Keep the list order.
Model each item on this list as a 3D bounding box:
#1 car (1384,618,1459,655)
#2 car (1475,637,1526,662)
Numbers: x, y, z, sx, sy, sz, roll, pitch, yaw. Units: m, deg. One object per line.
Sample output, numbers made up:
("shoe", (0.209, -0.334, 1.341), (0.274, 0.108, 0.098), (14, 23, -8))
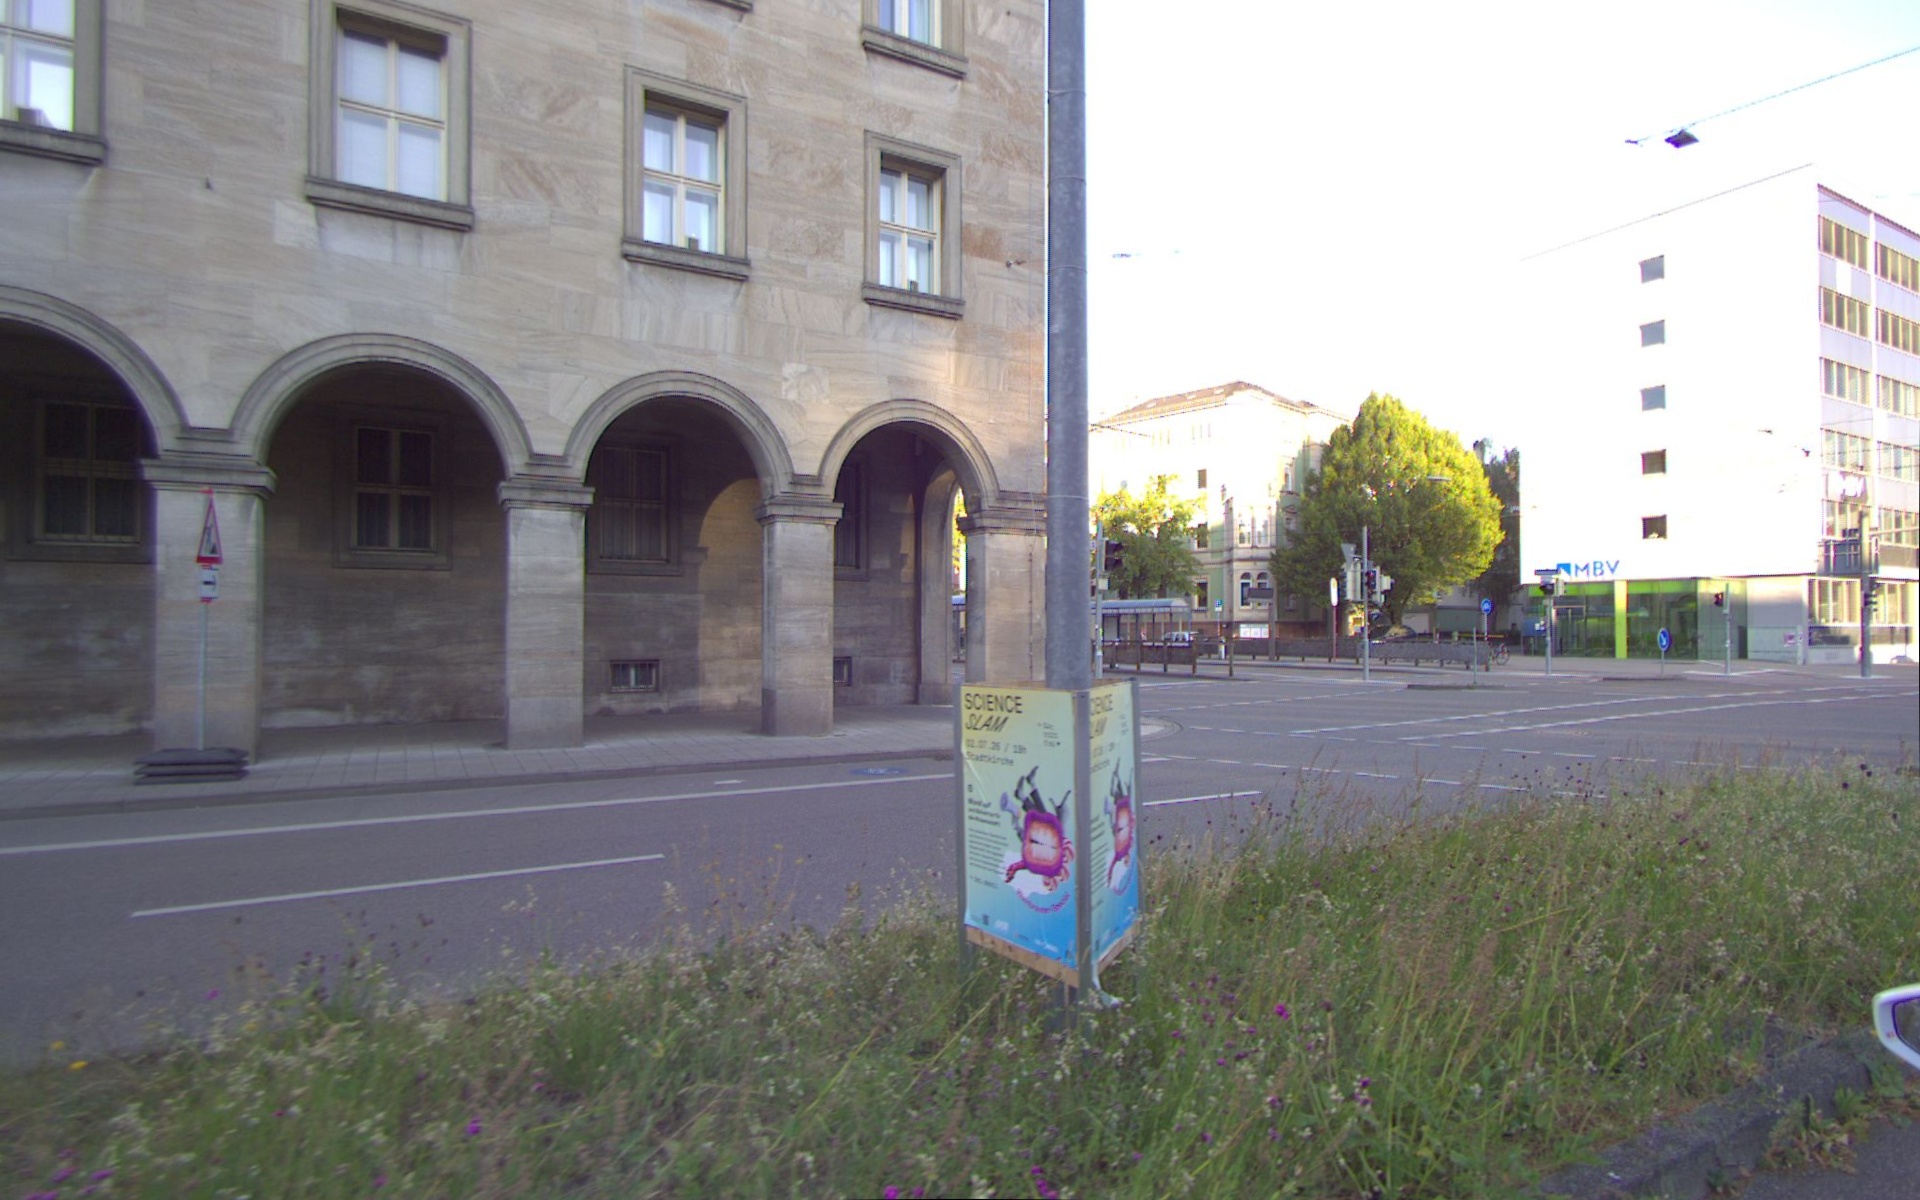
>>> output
("car", (26.165, 2.067, 56.897), (3.953, 2.040, 1.984), (1, -2, -31))
("car", (24.170, 2.203, 44.872), (2.492, 1.088, 0.849), (1, -2, -31))
